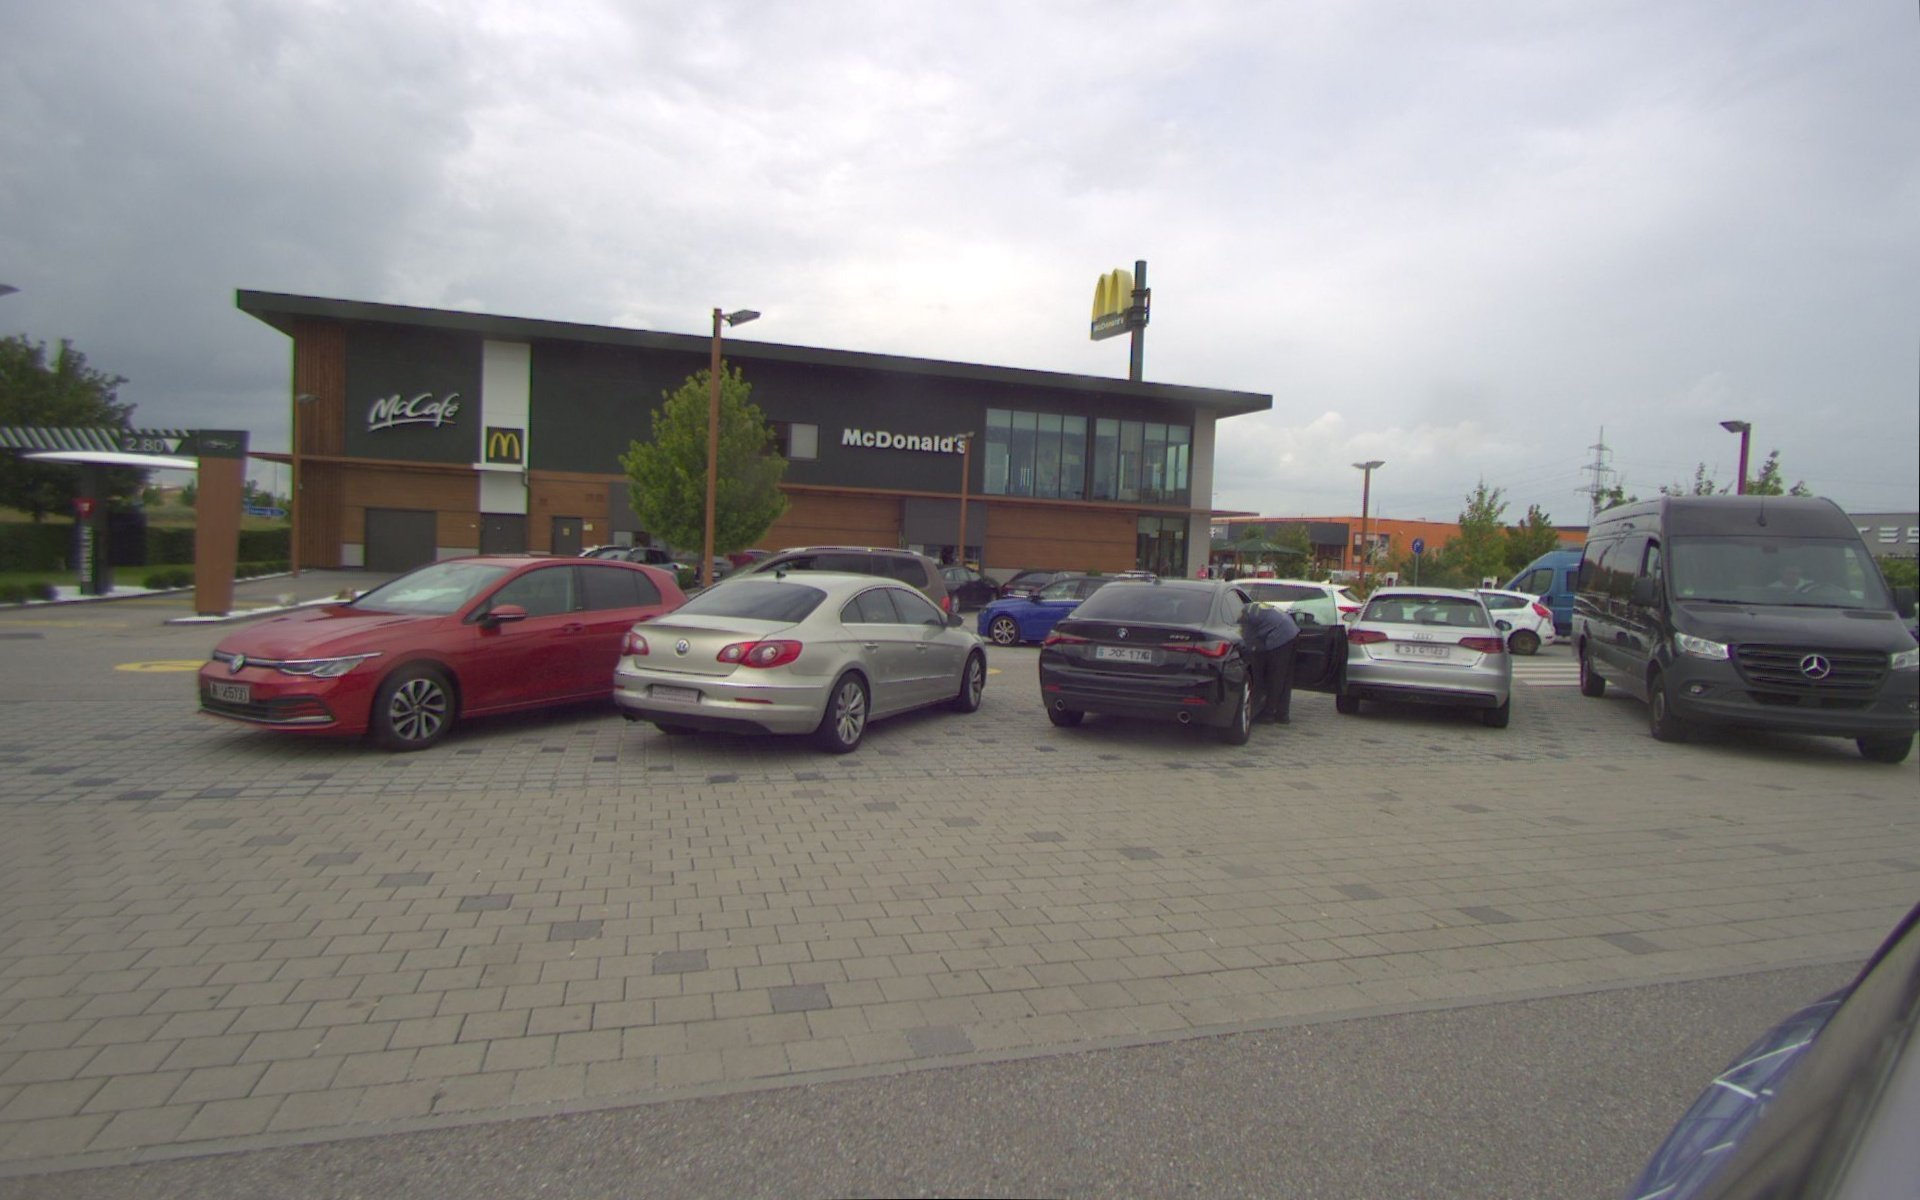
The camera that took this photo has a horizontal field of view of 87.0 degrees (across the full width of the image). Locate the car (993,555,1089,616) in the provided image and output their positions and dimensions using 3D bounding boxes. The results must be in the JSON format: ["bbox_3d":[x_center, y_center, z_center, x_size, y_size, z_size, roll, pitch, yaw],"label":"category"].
[{"bbox_3d":[2.734,-0.538,33.276,1.877,1.681,4.229,5,5,22],"label":"car"}]

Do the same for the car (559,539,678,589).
[{"bbox_3d":[-12.295,-1.302,36.544,3.915,1.524,1.794,3,2,-18],"label":"car"}]

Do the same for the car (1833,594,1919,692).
[{"bbox_3d":[15.550,0.693,15.566,1.810,1.429,3.976,2,2,19],"label":"car"}]

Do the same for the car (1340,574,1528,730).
[{"bbox_3d":[5.644,0.474,12.008,1.671,1.469,3.963,3,2,27],"label":"car"}]

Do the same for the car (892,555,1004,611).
[{"bbox_3d":[-0.303,-0.586,32.204,1.821,1.593,4.054,4,3,27],"label":"car"}]

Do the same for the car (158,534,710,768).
[{"bbox_3d":[-4.129,0.280,8.657,1.671,1.482,3.963,3,2,27],"label":"car"}]

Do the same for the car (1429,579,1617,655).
[{"bbox_3d":[12.662,0.332,23.037,3.537,1.471,1.827,3,2,25],"label":"car"}]

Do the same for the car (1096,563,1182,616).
[{"bbox_3d":[6.155,-0.400,34.556,1.774,1.504,3.965,5,5,26],"label":"car"}]

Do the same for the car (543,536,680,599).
[{"bbox_3d":[-10.031,-0.928,29.428,1.728,1.603,3.882,4,3,18],"label":"car"}]

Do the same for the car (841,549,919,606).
[{"bbox_3d":[-2.928,-0.861,36.182,1.715,1.774,4.011,3,3,-19],"label":"car"}]

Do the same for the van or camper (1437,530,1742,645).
[{"bbox_3d":[16.308,-0.423,26.705,6.521,2.734,2.149,2,1,31],"label":"van or camper"}]

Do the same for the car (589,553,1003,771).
[{"bbox_3d":[-1.141,0.374,9.252,1.733,1.429,4.429,3,2,21],"label":"car"}]

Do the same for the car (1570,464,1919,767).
[{"bbox_3d":[9.024,0.027,12.069,2.051,2.584,6.956,3,2,24],"label":"car"}]

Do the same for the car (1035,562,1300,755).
[{"bbox_3d":[2.329,0.421,10.336,1.670,1.481,4.370,3,2,25],"label":"car"}]

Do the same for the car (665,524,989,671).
[{"bbox_3d":[-1.889,-0.042,14.064,4.102,1.710,1.816,3,2,-18],"label":"car"}]

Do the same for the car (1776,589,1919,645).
[{"bbox_3d":[30.476,0.554,33.856,2.029,1.572,4.490,1,3,-19],"label":"car"}]

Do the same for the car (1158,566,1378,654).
[{"bbox_3d":[6.264,0.169,20.600,4.066,1.485,1.766,3,0,23],"label":"car"}]

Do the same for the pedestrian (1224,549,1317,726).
[{"bbox_3d":[3.160,0.355,10.267,0.742,1.699,0.835,1,-1,27],"label":"pedestrian"}]

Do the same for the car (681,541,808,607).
[{"bbox_3d":[-6.459,-0.794,30.786,1.975,1.771,3.977,4,3,18],"label":"car"}]

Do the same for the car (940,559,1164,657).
[{"bbox_3d":[1.798,0.105,19.913,3.964,1.528,1.752,5,3,28],"label":"car"}]
